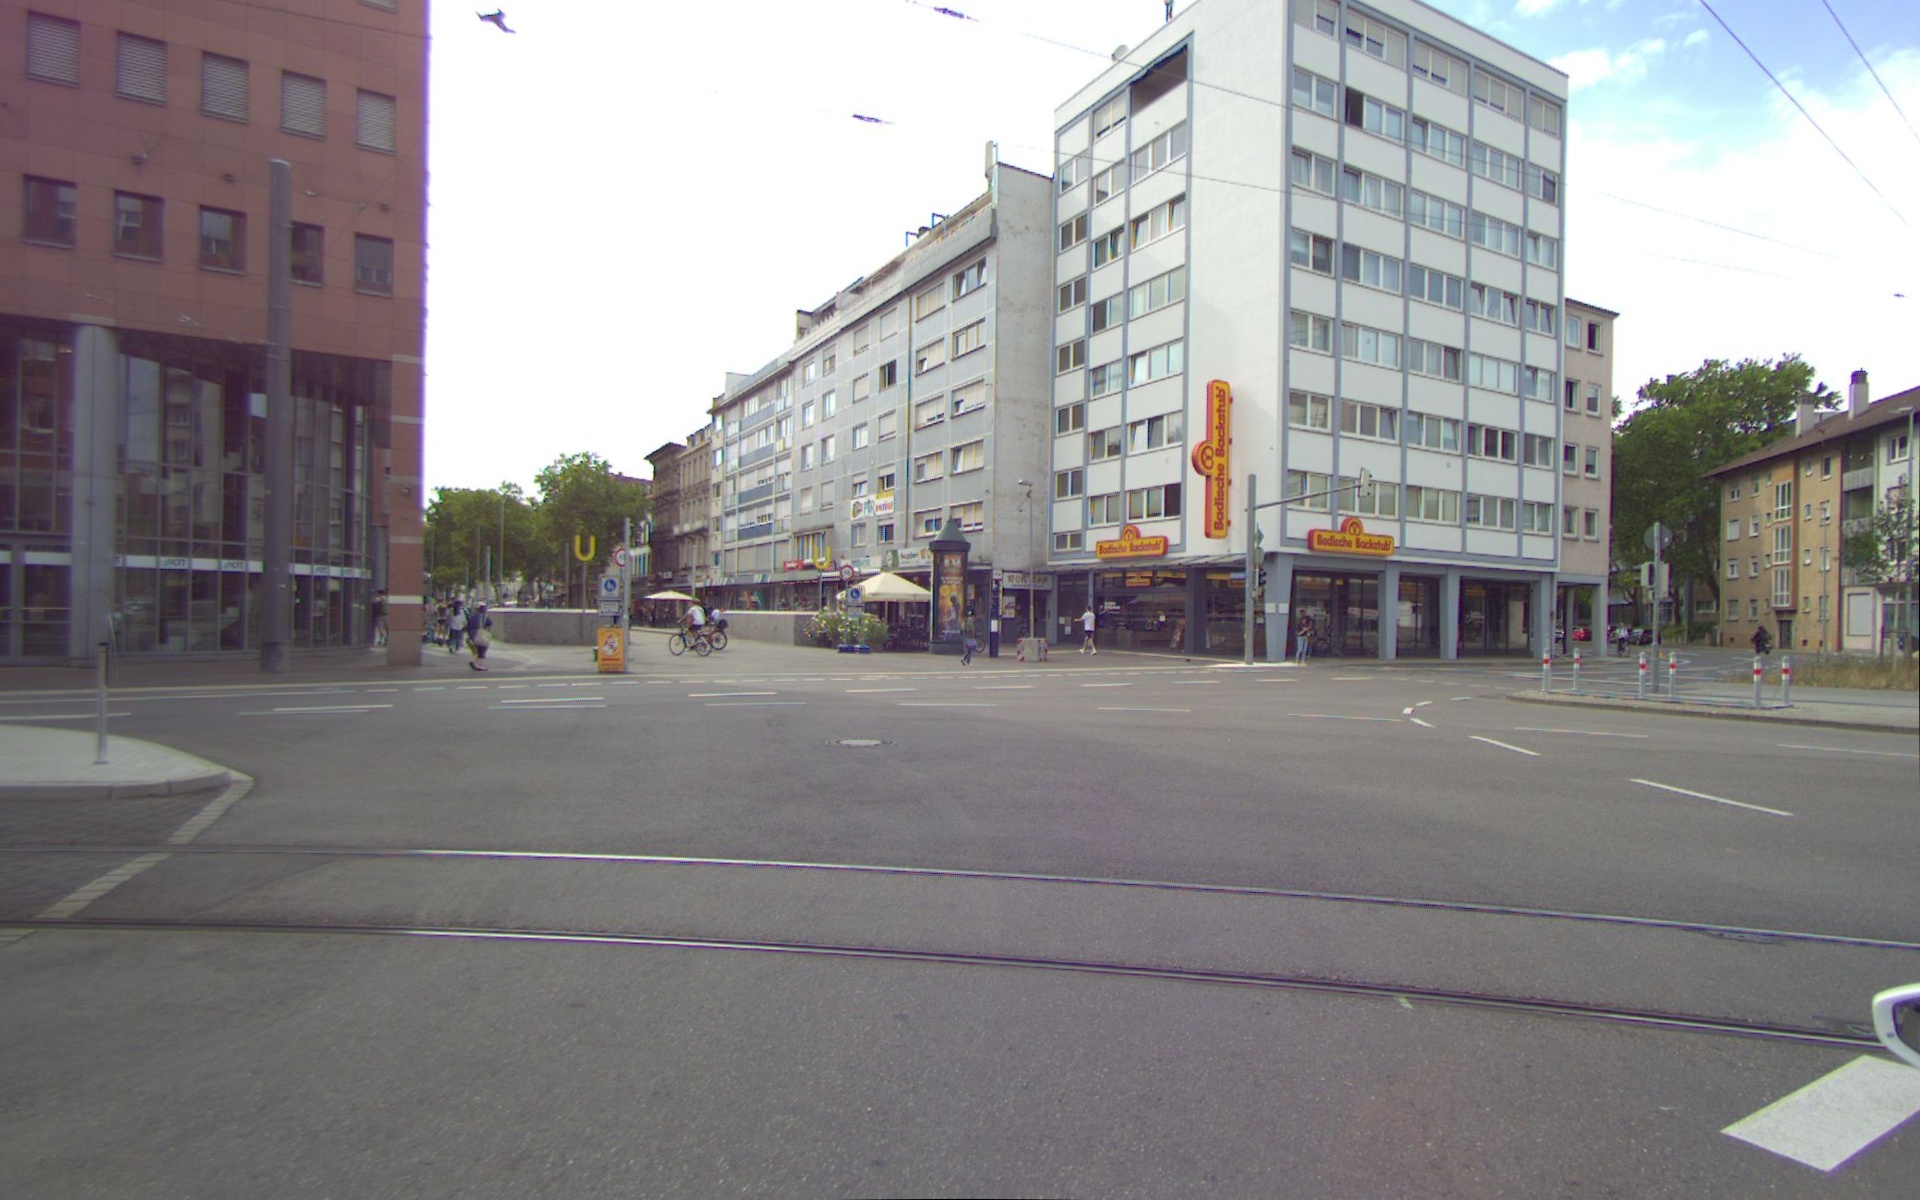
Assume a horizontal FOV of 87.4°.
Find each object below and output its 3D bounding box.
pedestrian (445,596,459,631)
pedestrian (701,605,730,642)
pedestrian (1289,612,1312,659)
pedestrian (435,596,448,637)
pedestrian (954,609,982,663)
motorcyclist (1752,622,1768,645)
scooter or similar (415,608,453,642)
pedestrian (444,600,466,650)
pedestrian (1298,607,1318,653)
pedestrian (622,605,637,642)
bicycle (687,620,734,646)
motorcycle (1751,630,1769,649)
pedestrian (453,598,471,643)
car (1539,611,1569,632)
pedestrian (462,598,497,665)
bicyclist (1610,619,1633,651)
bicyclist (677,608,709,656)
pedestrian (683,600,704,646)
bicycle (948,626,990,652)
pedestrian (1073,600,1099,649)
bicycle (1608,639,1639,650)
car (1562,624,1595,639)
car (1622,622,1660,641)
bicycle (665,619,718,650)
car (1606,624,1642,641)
[{"bbox_3d":[-24.851,0.665,49.093,0.574,1.685,0.517,1,0,-29],"label":"pedestrian"},{"bbox_3d":[-9.221,0.881,37.865,0.847,1.393,0.633,1,0,19],"label":"pedestrian"},{"bbox_3d":[11.701,1.223,34.506,0.512,1.580,0.496,1,0,-33],"label":"pedestrian"},{"bbox_3d":[-21.608,0.669,41.829,0.458,1.685,0.517,1,0,-29],"label":"pedestrian"},{"bbox_3d":[0.235,1.086,30.504,0.647,1.615,0.689,1,0,18],"label":"pedestrian"},{"bbox_3d":[46.278,1.944,58.127,0.514,1.330,0.677,1,0,18],"label":"motorcyclist"},{"bbox_3d":[-19.008,0.891,36.281,1.267,1.184,0.383,1,0,13],"label":"scooter or similar"},{"bbox_3d":[-15.356,0.754,30.539,0.574,1.492,0.650,1,0,-29],"label":"pedestrian"},{"bbox_3d":[13.592,1.157,39.251,0.582,1.789,0.474,0,0,-30],"label":"pedestrian"},{"bbox_3d":[-14.436,1.005,43.835,0.514,1.598,0.503,1,0,-27],"label":"pedestrian"},{"bbox_3d":[-9.409,1.240,37.896,1.753,0.900,0.473,1,0,21],"label":"bicycle"},{"bbox_3d":[46.286,2.271,58.122,0.332,1.021,1.266,1,0,17],"label":"motorcycle"},{"bbox_3d":[-18.567,0.762,37.446,0.574,1.685,0.517,1,0,-29],"label":"pedestrian"},{"bbox_3d":[51.681,1.857,87.425,1.803,1.682,4.321,1,0,25],"label":"car"},{"bbox_3d":[-11.050,0.715,23.095,0.676,1.492,0.793,1,0,-29],"label":"pedestrian"},{"bbox_3d":[35.860,1.893,54.417,1.024,1.668,0.606,1,0,-27],"label":"bicyclist"},{"bbox_3d":[-8.963,1.060,33.714,0.866,1.590,0.547,1,0,21],"label":"bicyclist"},{"bbox_3d":[-9.798,0.833,36.942,0.458,1.663,0.633,1,0,22],"label":"pedestrian"},{"bbox_3d":[0.347,1.588,40.831,1.760,1.002,0.471,1,0,36],"label":"bicycle"},{"bbox_3d":[4.929,0.961,39.298,0.574,1.883,0.858,1,0,-30],"label":"pedestrian"},{"bbox_3d":[36.018,2.405,54.507,1.972,0.596,0.482,1,0,-27],"label":"bicycle"},{"bbox_3d":[63.502,3.187,103.172,1.647,1.412,4.463,2,-1,15],"label":"car"},{"bbox_3d":[59.883,2.754,88.375,1.629,1.441,3.868,1,0,15],"label":"car"},{"bbox_3d":[-9.074,1.157,33.924,1.753,1.002,0.473,1,0,21],"label":"bicycle"},{"bbox_3d":[61.432,2.959,92.957,1.629,1.441,3.948,1,0,15],"label":"car"}]
